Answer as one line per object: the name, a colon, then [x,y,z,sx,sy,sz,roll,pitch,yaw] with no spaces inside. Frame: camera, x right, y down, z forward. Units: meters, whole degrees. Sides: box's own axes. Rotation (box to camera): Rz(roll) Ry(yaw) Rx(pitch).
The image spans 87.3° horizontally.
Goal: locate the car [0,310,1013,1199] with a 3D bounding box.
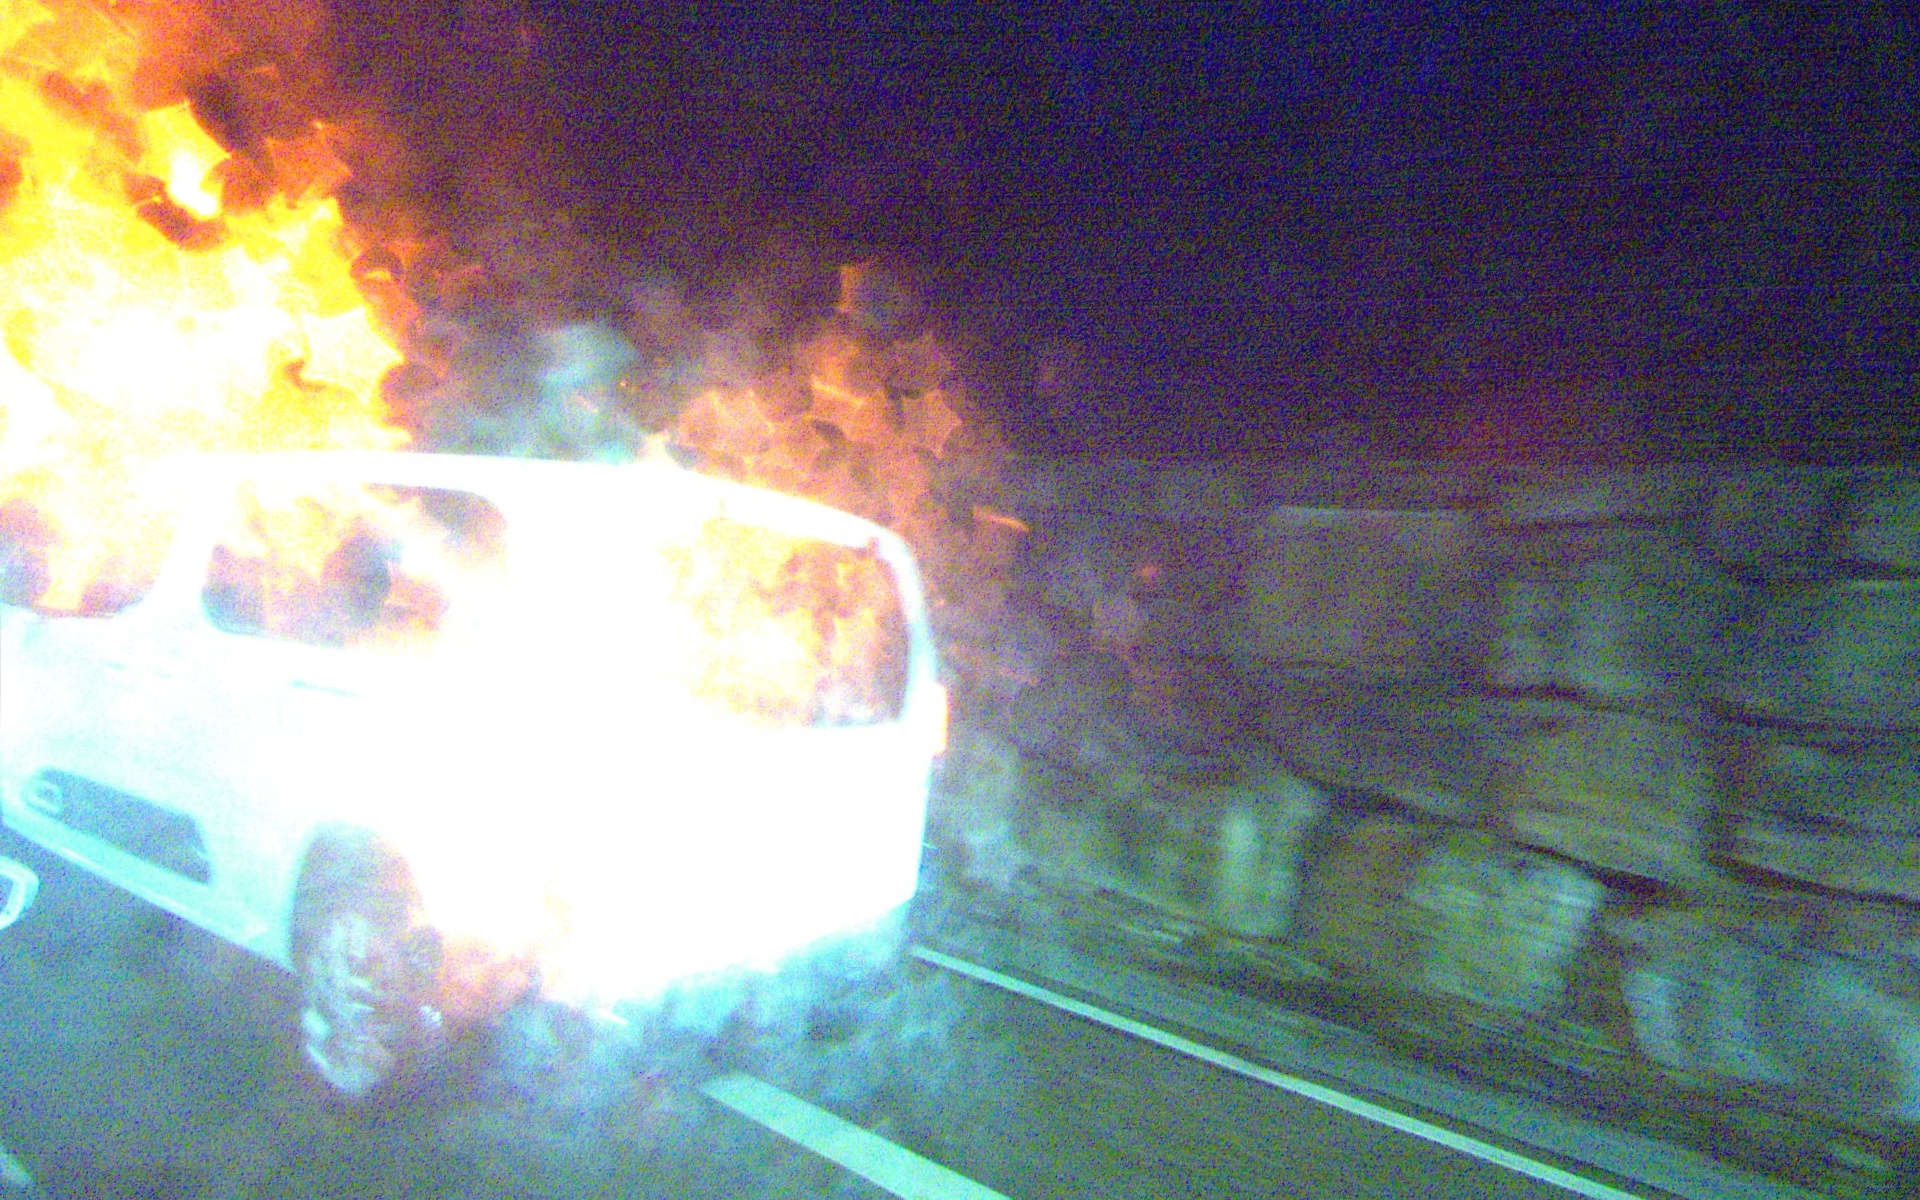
car: [-2.302,0.253,4.050,4.502,2.045,1.795,7,-1,30]
